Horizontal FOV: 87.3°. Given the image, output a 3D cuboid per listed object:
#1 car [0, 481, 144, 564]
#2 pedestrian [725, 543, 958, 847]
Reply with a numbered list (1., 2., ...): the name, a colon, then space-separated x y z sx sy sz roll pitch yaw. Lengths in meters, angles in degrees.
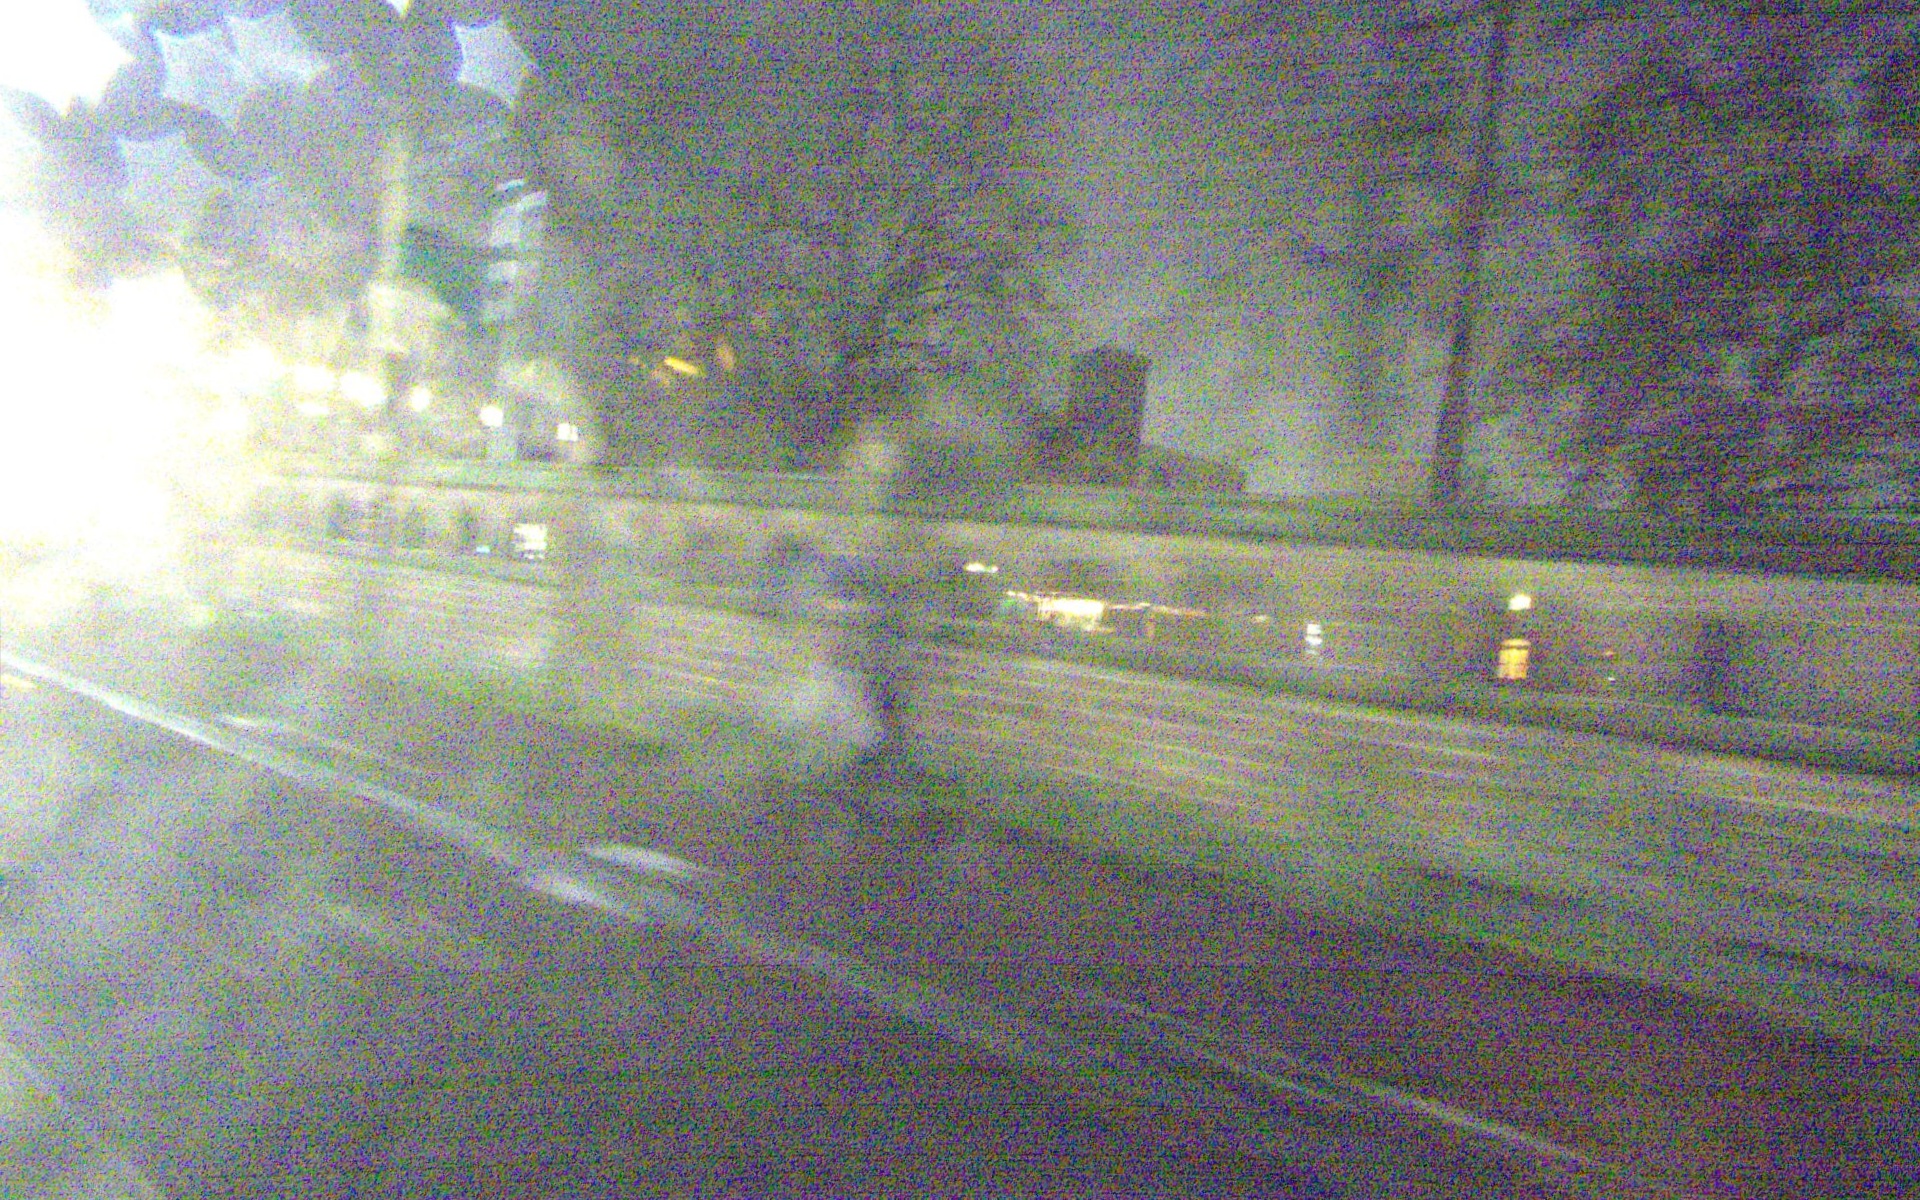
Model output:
1. car: -23.184 -1.944 26.003 2.004 1.720 4.101 7 -1 -23
2. pedestrian: -0.738 0.551 6.408 0.977 1.686 0.940 7 2 27
